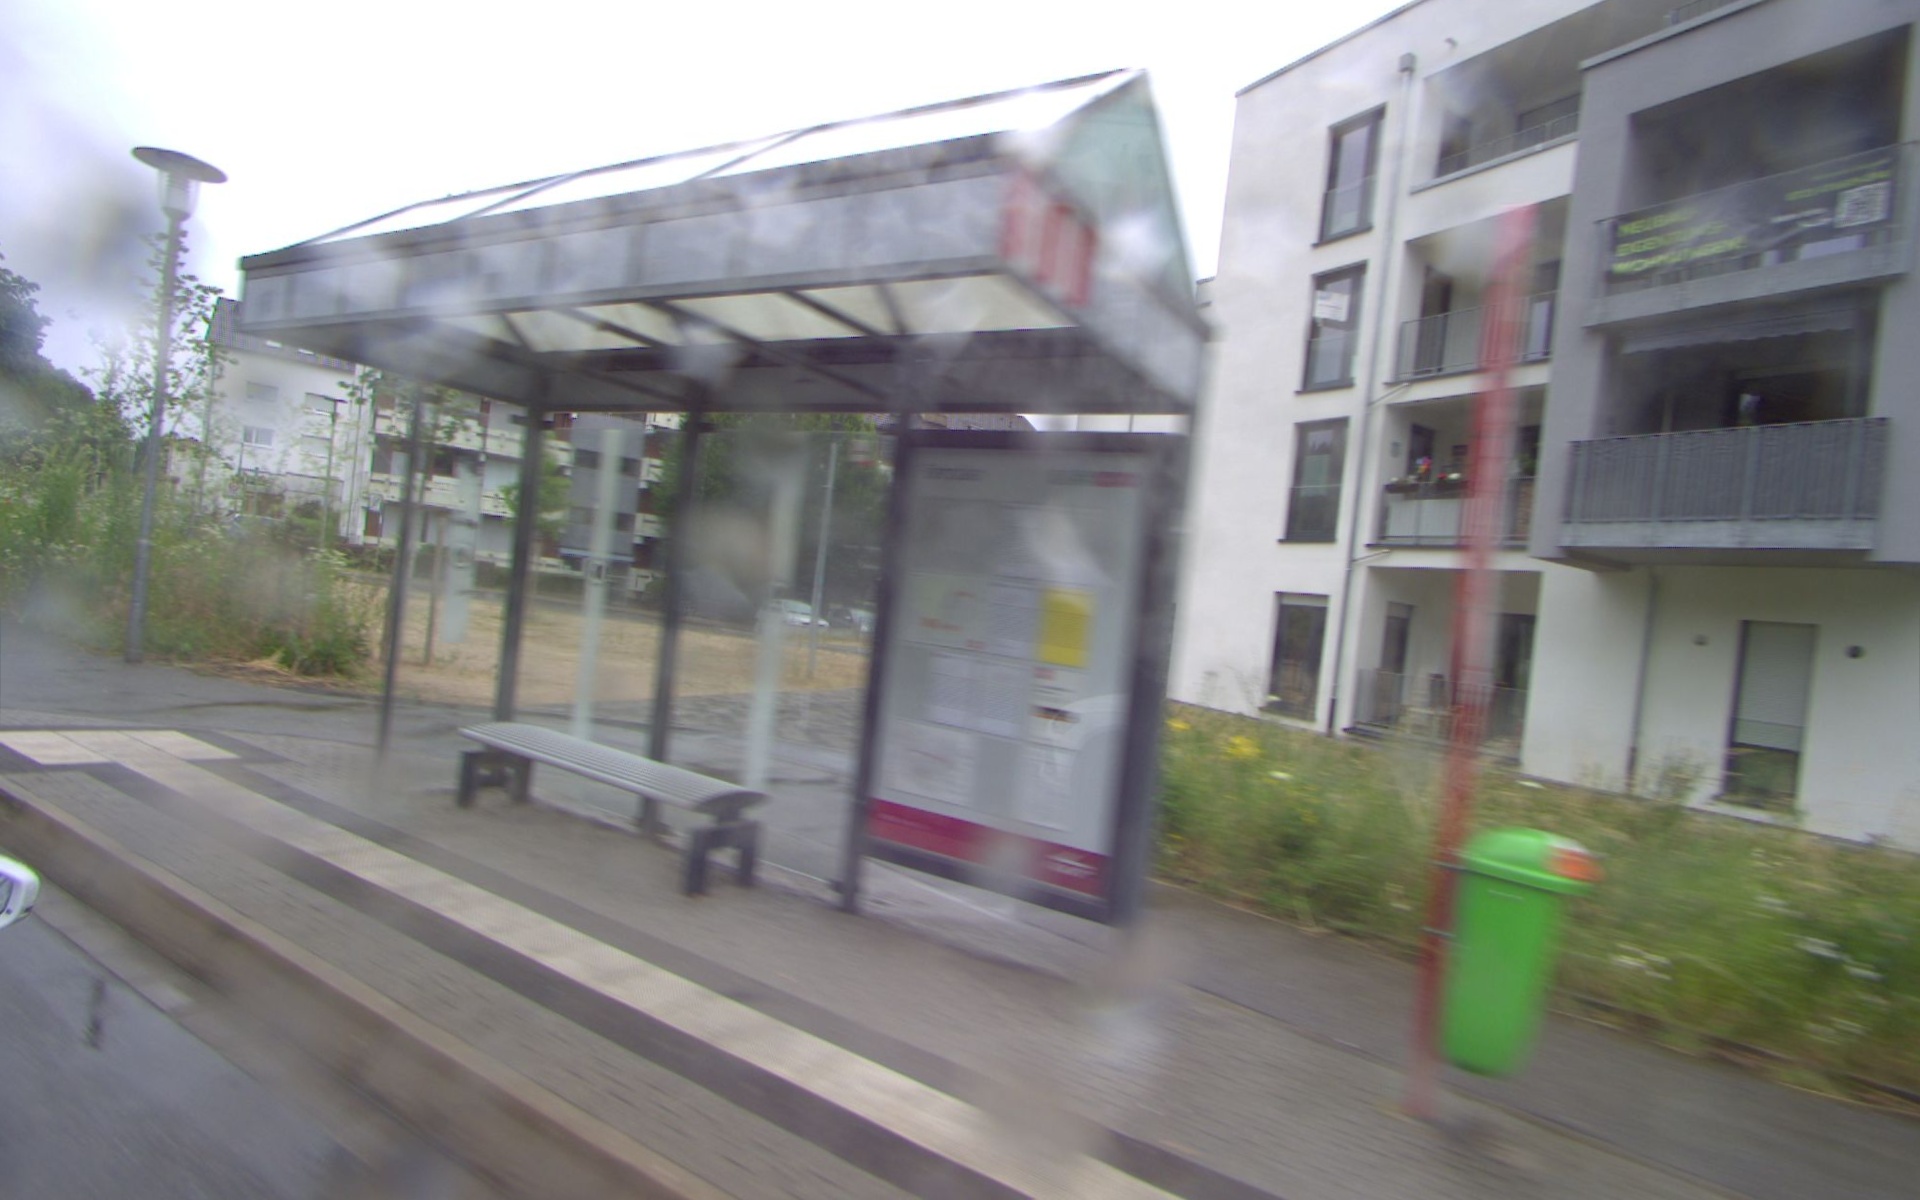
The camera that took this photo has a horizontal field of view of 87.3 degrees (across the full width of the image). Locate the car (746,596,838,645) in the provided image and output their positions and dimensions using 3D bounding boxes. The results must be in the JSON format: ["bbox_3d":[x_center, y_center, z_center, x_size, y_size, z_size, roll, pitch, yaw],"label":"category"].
[{"bbox_3d":[-6.087,0.729,36.231,1.707,1.457,3.673,8,-3,-35],"label":"car"}]

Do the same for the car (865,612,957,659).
[{"bbox_3d":[-1.934,1.344,38.897,1.707,1.457,3.673,8,-3,-35],"label":"car"}]
